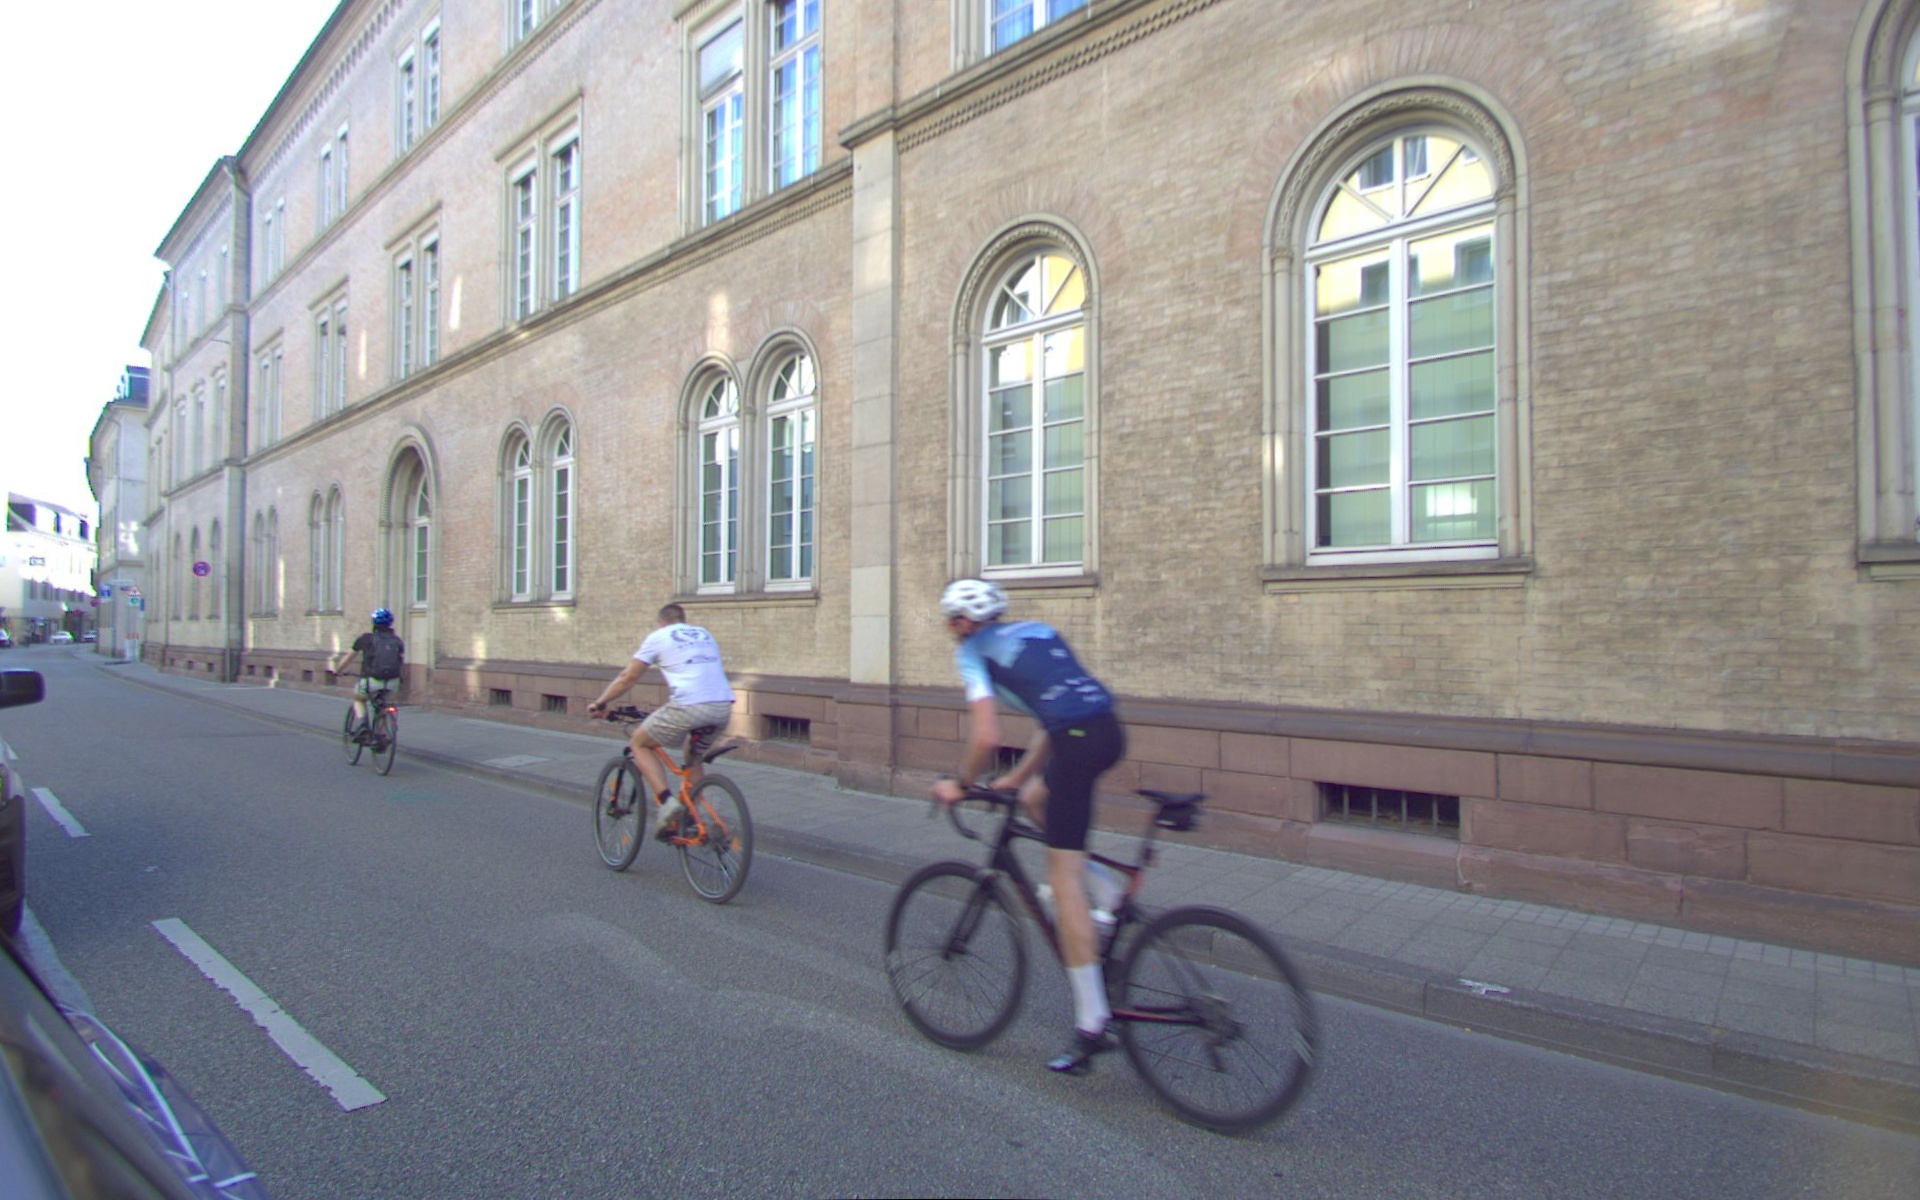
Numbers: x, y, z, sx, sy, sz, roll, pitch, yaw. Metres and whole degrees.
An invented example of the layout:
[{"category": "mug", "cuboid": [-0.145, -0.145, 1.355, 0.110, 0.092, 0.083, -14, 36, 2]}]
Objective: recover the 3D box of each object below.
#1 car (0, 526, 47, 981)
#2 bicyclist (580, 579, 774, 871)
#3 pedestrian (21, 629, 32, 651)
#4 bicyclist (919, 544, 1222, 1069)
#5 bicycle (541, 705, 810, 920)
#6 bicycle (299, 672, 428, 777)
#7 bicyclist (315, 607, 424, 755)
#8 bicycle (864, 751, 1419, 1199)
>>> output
[{"category": "car", "cuboid": [-6.418, 0.666, 5.299, 5.338, 1.850, 1.795, -2, -3, 41]}, {"category": "bicyclist", "cuboid": [-1.701, 0.705, 6.075, 0.960, 1.579, 0.643, -2, -5, 41]}, {"category": "pedestrian", "cuboid": [-83.038, 3.559, 89.986, 0.635, 1.964, 0.779, 1, -3, -40]}, {"category": "bicyclist", "cuboid": [0.380, 0.627, 3.495, 0.868, 1.545, 0.539, -2, -5, 39]}, {"category": "bicycle", "cuboid": [-1.752, 1.187, 6.086, 1.805, 1.014, 0.643, -2, -5, 41]}, {"category": "bicycle", "cuboid": [-6.589, 1.327, 11.140, 1.875, 1.014, 0.643, -2, -5, 42]}, {"category": "bicyclist", "cuboid": [-6.473, 0.870, 11.086, 1.111, 1.520, 0.643, -2, -5, 42]}, {"category": "bicycle", "cuboid": [0.513, 1.086, 3.344, 1.755, 1.014, 0.539, -2, -5, 39]}]
